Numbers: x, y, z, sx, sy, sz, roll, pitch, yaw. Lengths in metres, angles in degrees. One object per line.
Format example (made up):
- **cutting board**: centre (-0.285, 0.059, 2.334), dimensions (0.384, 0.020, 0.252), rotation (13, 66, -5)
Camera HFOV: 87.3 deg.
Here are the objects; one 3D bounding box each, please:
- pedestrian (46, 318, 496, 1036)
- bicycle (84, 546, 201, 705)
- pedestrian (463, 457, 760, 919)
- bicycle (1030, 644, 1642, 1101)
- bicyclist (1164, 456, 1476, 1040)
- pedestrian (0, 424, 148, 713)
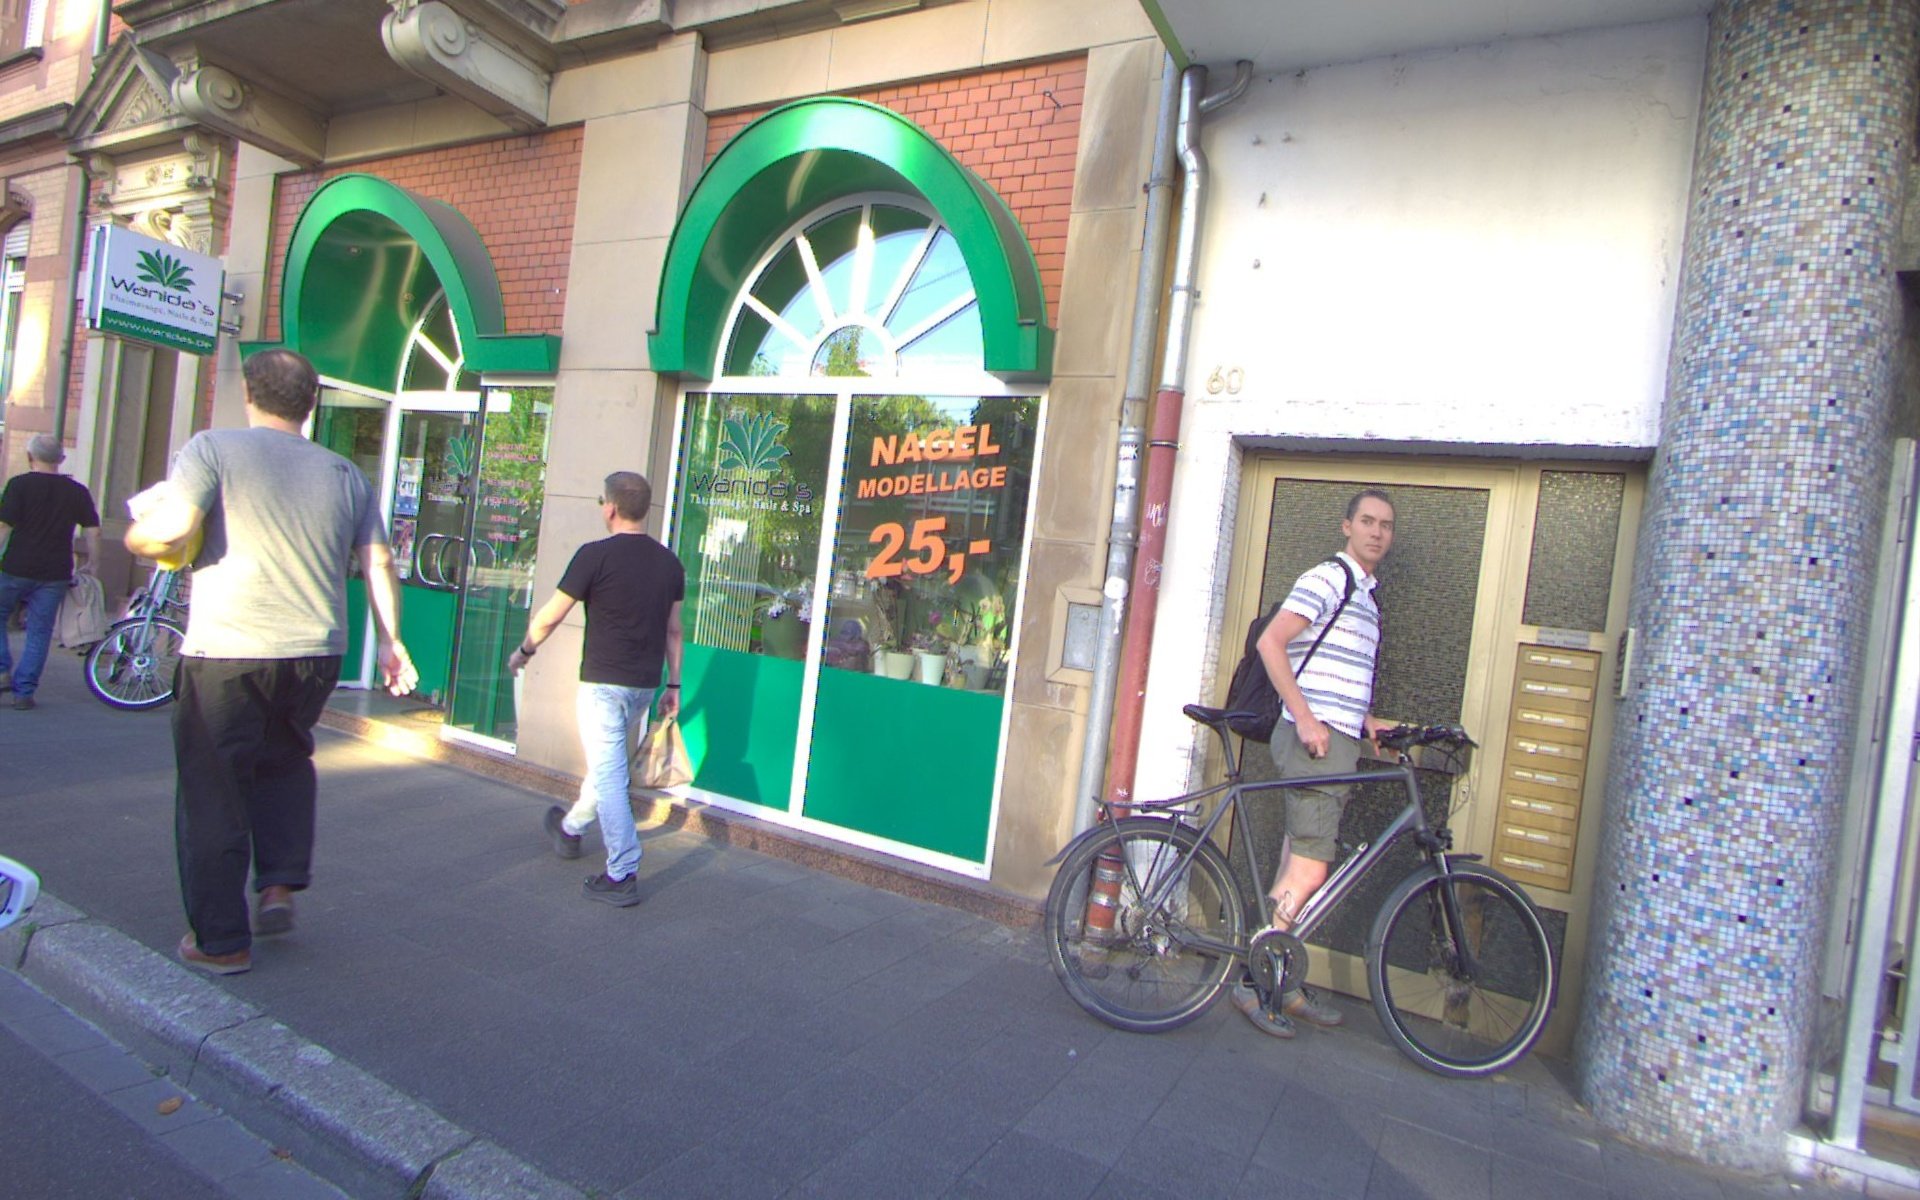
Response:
- **pedestrian**: centre (-2.164, 0.197, 3.207), dimensions (0.741, 1.919, 0.822), rotation (7, 2, 29)
- **bicycle**: centre (-5.966, 0.165, 7.325), dimensions (1.222, 1.009, 0.344), rotation (7, 2, 38)
- **pedestrian**: centre (-1.485, 0.332, 4.341), dimensions (0.741, 1.746, 0.776), rotation (7, 2, 29)
- **bicycle**: centre (1.265, 0.919, 3.696), dimensions (1.859, 1.269, 0.668), rotation (7, 1, 3)
- **bicyclist**: centre (1.278, 0.508, 3.716), dimensions (0.730, 1.905, 0.600), rotation (7, 1, 3)
- **pedestrian**: centre (-5.964, -0.205, 6.518), dimensions (0.741, 1.746, 0.776), rotation (7, 2, 29)
